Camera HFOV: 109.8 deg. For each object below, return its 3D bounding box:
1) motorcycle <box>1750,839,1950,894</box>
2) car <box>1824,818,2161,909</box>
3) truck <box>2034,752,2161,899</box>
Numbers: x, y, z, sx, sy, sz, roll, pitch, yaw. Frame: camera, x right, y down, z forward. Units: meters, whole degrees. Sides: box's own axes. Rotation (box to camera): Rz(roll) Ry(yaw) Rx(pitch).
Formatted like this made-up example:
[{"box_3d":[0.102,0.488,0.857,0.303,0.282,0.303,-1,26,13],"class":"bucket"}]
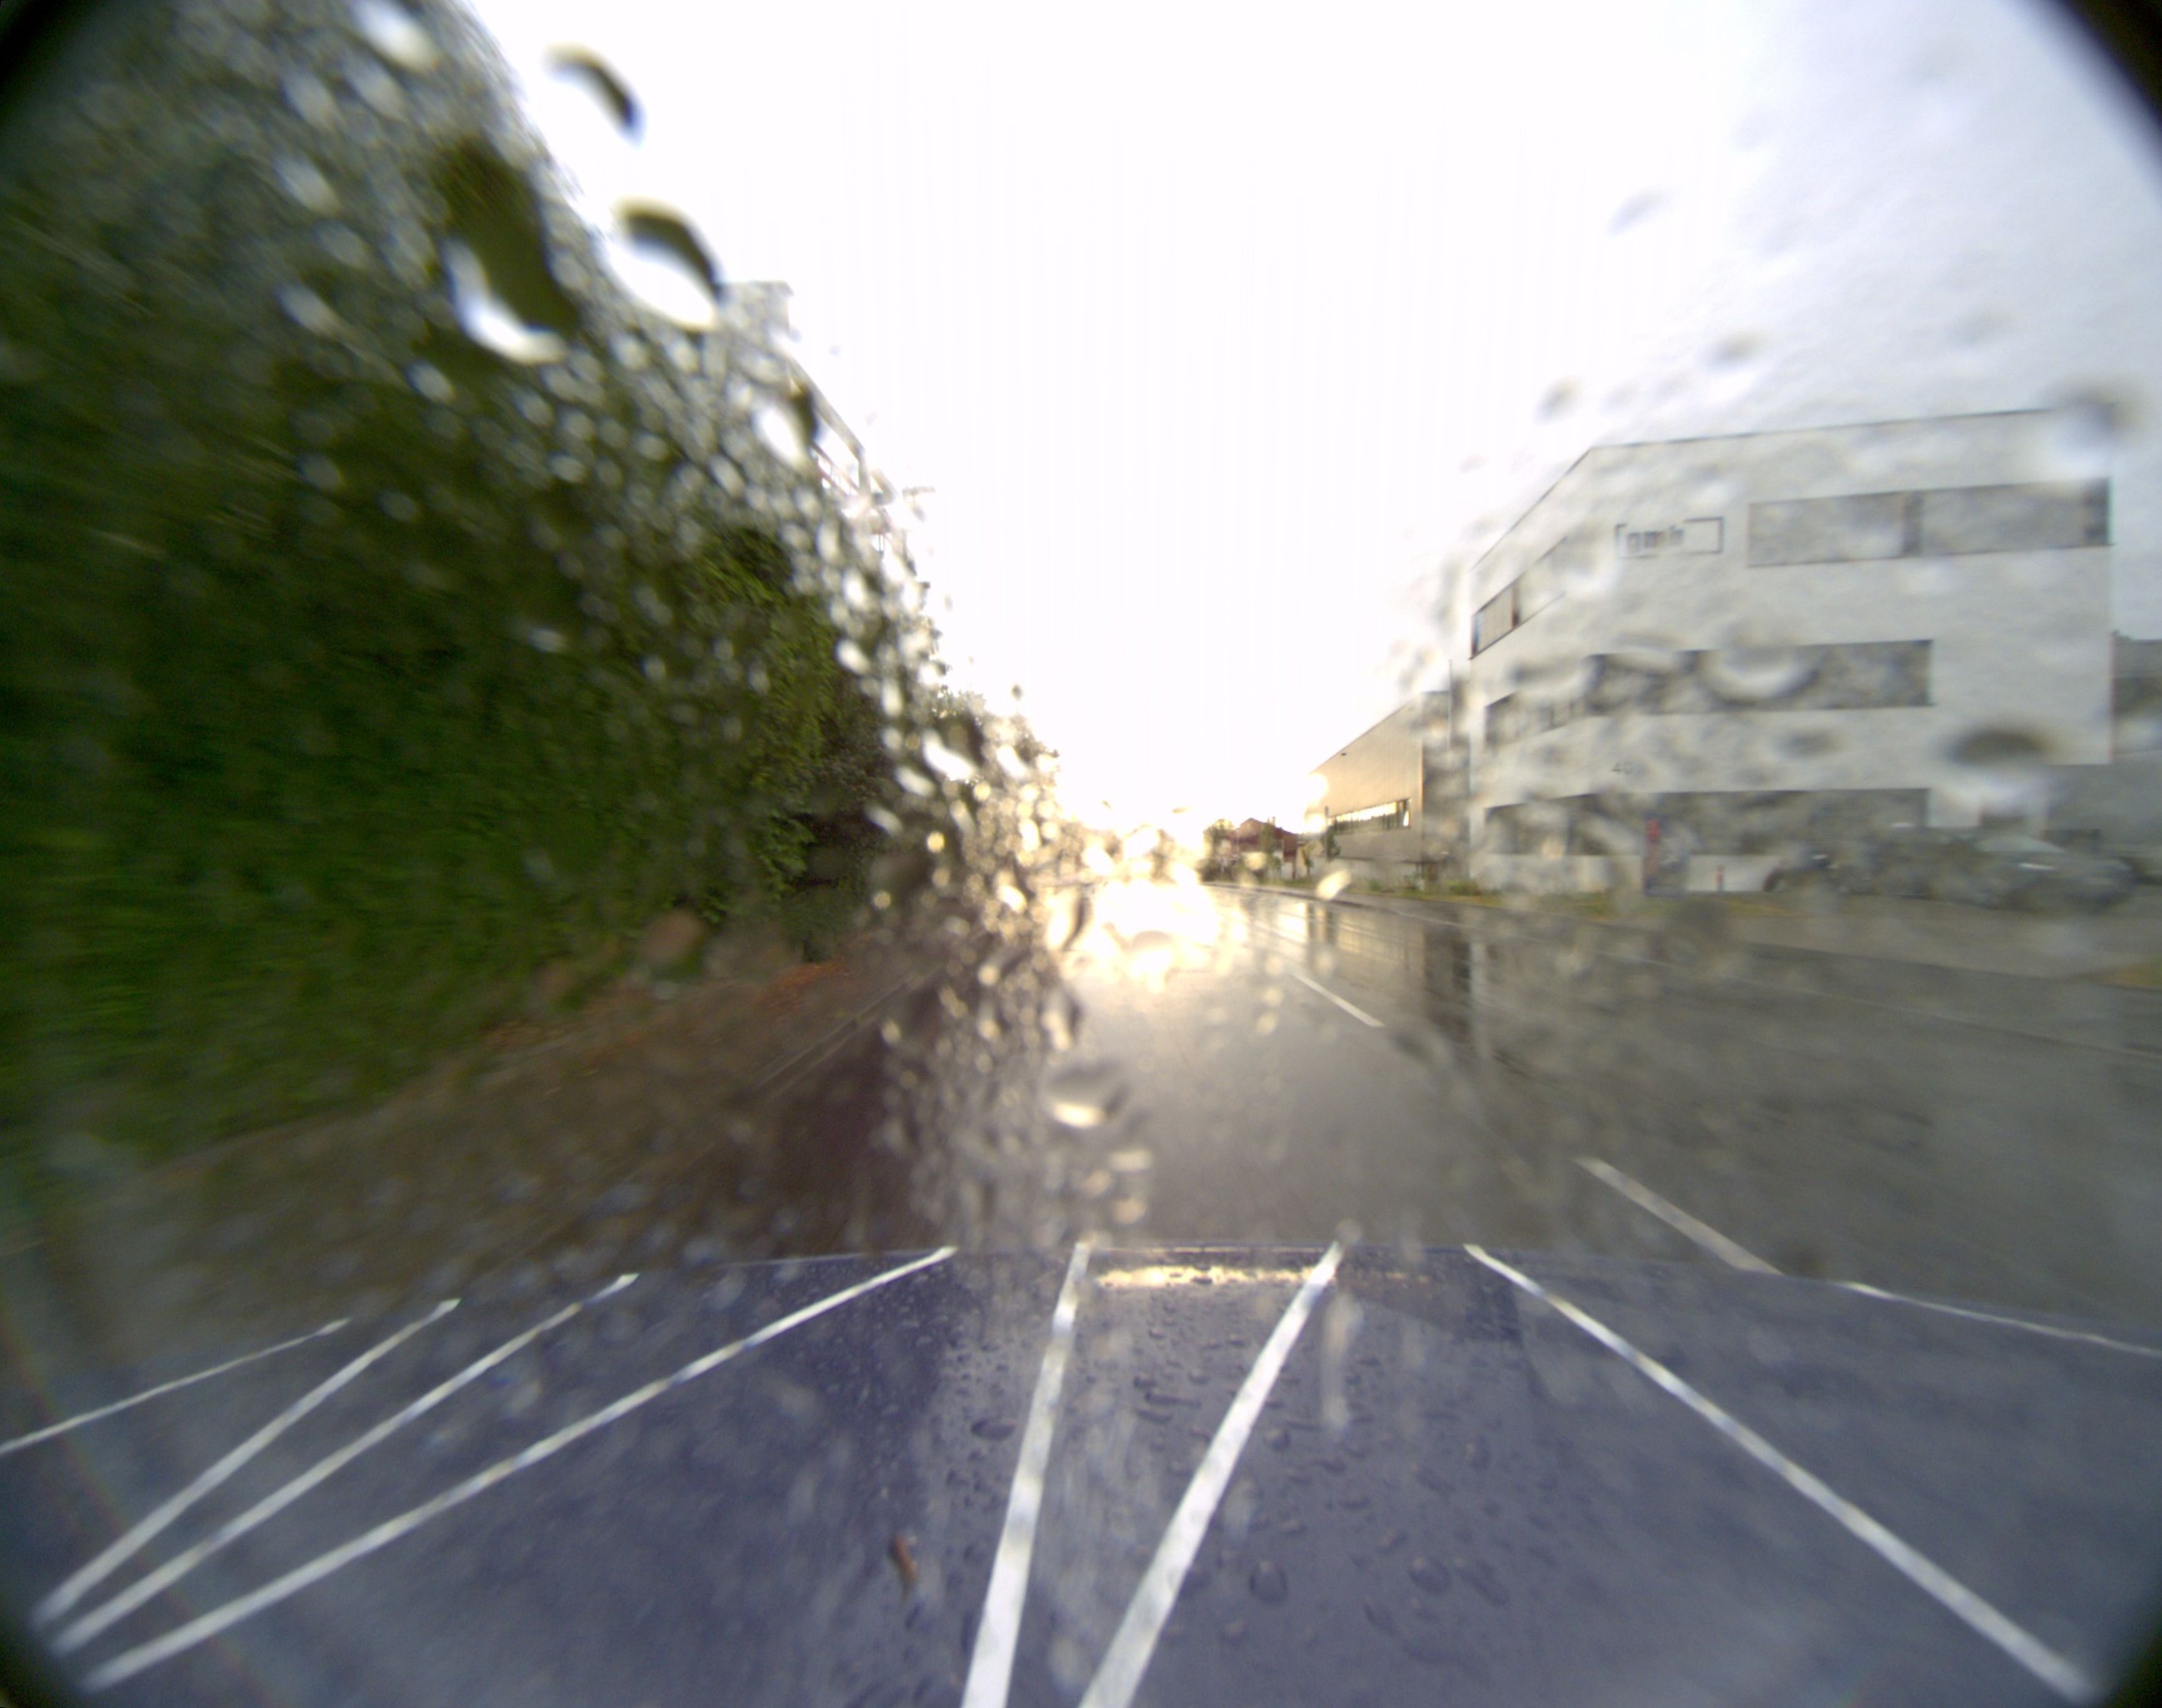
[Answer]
[{"box_3d":[18.810,0.308,18.668,3.691,1.237,0.778,-2,0,9],"class":"motorcycle"},{"box_3d":[18.614,0.183,15.926,1.856,1.586,4.608,-1,0,5],"class":"car"},{"box_3d":[27.293,-0.711,17.309,2.674,3.555,7.341,-1,0,9],"class":"truck"}]
